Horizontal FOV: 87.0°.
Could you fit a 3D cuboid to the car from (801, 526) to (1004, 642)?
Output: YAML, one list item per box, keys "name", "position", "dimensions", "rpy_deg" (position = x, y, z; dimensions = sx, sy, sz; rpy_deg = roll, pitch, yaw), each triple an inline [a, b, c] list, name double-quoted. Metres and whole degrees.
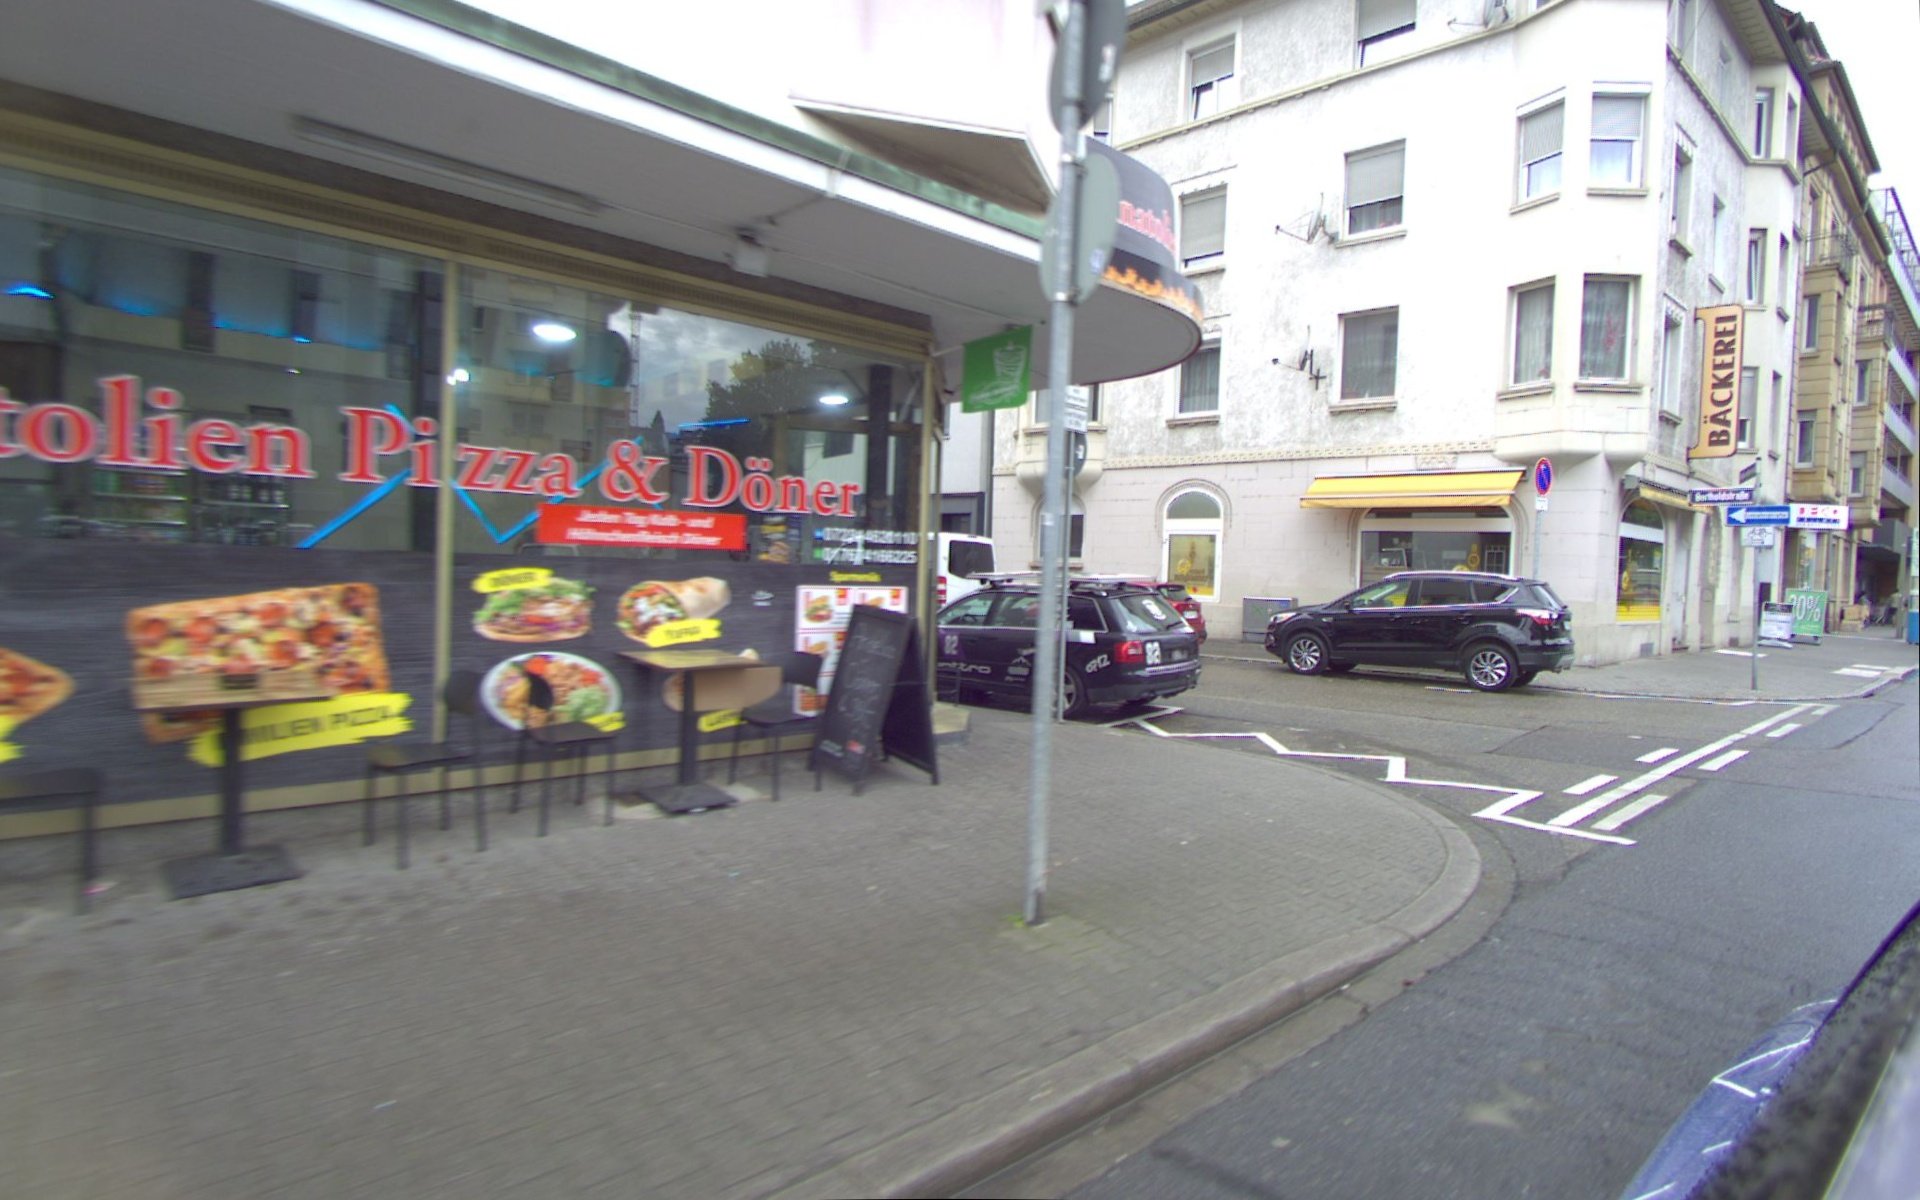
- name: "car"
  position: [-1.428, -0.420, 23.597]
  dimensions: [4.719, 2.434, 1.985]
  rpy_deg: [2, 2, 42]

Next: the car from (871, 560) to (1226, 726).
- name: "car"
  position: [0.944, 0.361, 12.359]
  dimensions: [4.106, 1.627, 1.779]
  rpy_deg: [3, 4, 42]

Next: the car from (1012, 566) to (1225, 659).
- name: "car"
  position: [2.991, 0.166, 19.486]
  dimensions: [3.684, 1.509, 1.753]
  rpy_deg: [4, 3, 42]

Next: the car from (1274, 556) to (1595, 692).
- name: "car"
  position: [7.238, 0.270, 15.656]
  dimensions: [4.134, 1.794, 1.846]
  rpy_deg: [3, 1, 41]

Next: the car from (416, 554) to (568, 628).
- name: "car"
  position: [-11.004, -0.263, 23.684]
  dimensions: [3.887, 1.598, 1.881]
  rpy_deg: [2, 2, 42]

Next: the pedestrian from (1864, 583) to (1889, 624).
- name: "pedestrian"
  position: [36.471, 0.131, 40.271]
  dimensions: [0.558, 1.592, 0.620]
  rpy_deg: [2, 1, 32]

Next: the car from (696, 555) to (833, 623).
- name: "car"
  position: [-5.267, -0.334, 27.098]
  dimensions: [3.544, 1.712, 1.881]
  rpy_deg: [2, 2, 42]
